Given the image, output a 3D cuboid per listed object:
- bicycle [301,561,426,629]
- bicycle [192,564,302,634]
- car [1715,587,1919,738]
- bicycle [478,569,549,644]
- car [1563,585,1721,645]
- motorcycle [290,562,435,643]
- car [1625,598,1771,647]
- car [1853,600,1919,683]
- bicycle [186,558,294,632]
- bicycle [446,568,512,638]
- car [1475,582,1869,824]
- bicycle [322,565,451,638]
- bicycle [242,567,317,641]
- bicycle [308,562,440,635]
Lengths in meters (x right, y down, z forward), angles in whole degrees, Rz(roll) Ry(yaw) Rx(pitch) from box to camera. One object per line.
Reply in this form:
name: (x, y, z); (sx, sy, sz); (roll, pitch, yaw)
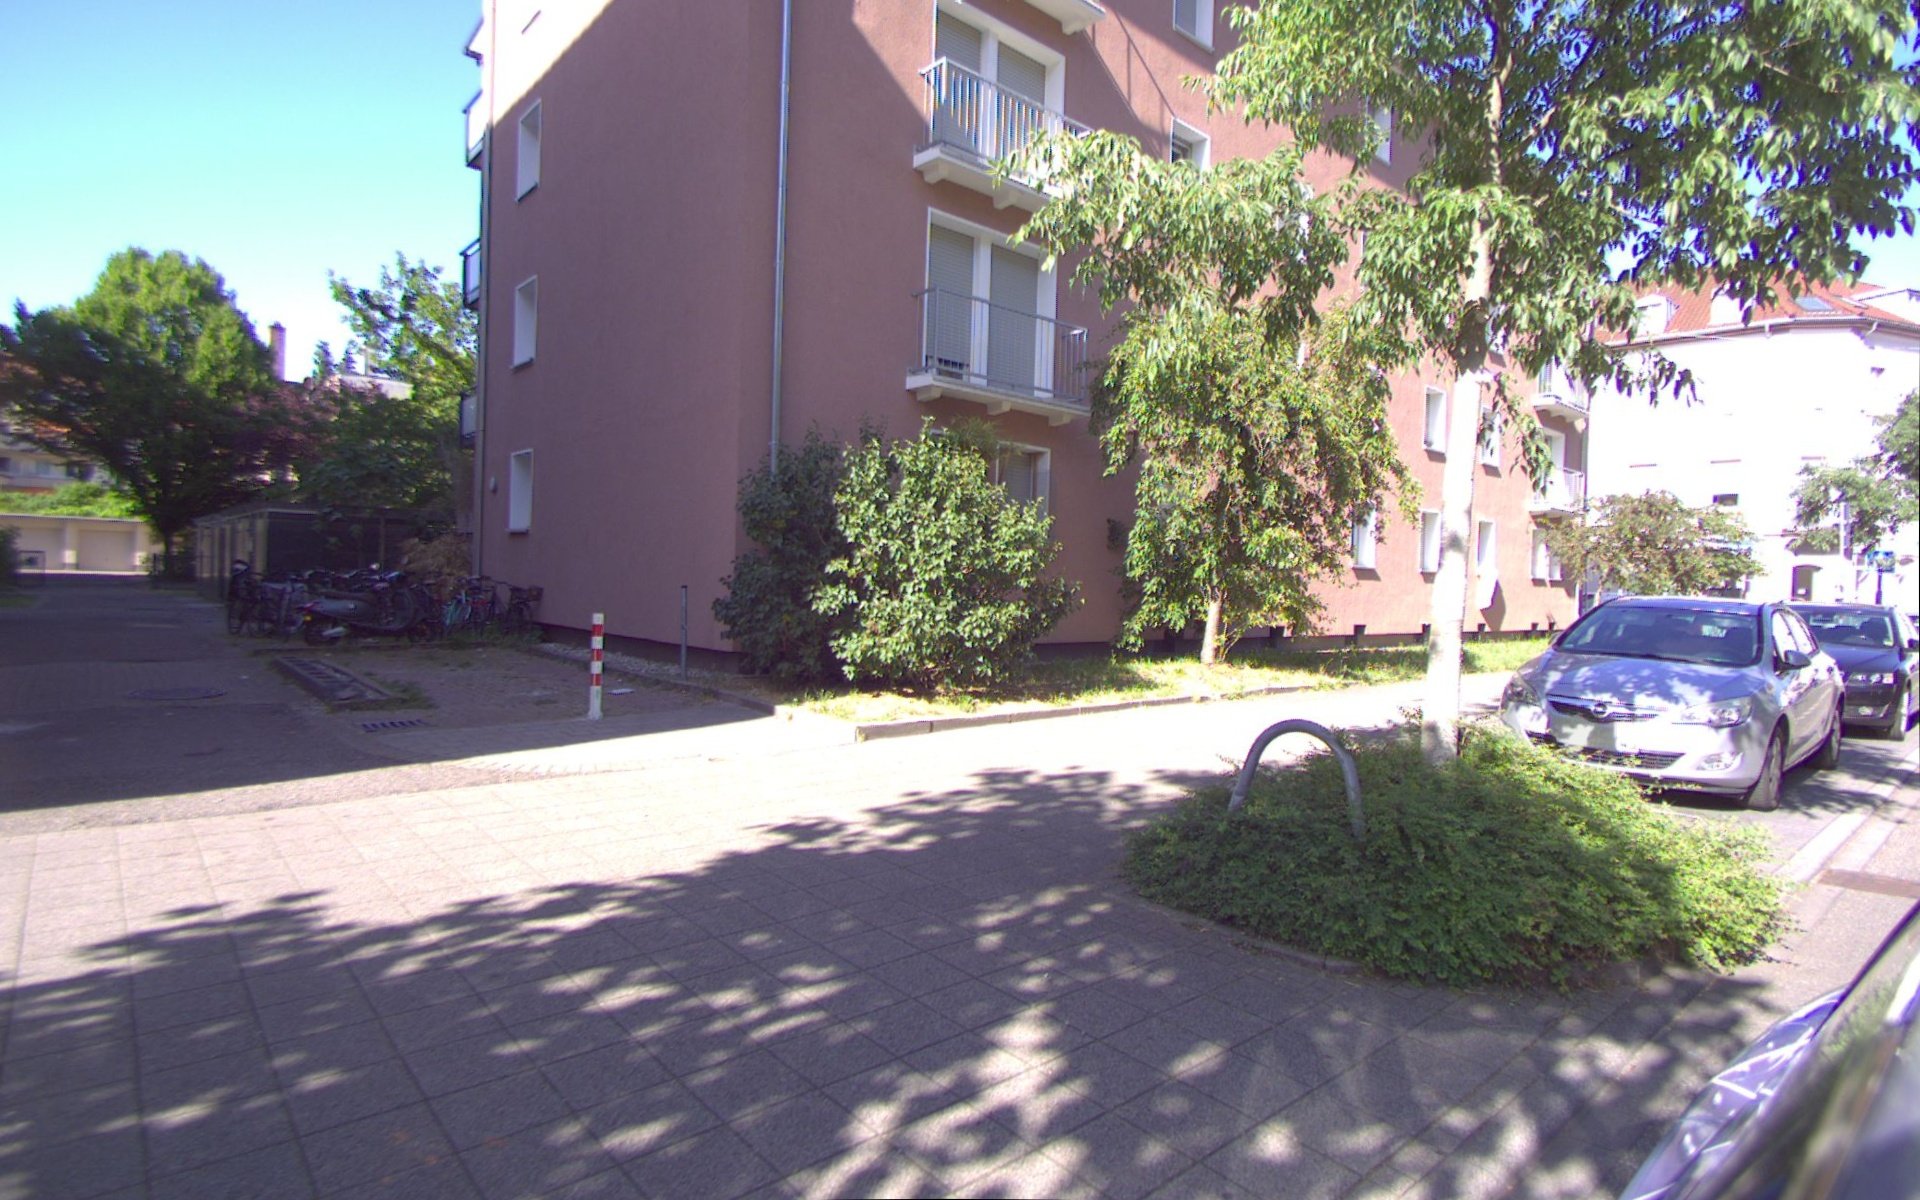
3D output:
bicycle: (-10.608, -0.084, 18.043); (1.847, 1.166, 0.578); (1, 1, -40)
bicycle: (-11.882, -0.022, 16.879); (1.453, 1.112, 0.557); (1, 1, -40)
car: (10.774, 0.643, 12.310); (4.236, 1.500, 1.661); (1, 1, -41)
bicycle: (-7.125, 0.082, 16.126); (0.584, 1.112, 1.538); (1, 1, -42)
car: (26.311, 0.523, 39.165); (4.745, 2.039, 1.968); (3, 1, 45)
motorcycle: (-8.705, 0.034, 14.783); (1.740, 1.120, 0.526); (1, 1, -40)
car: (24.370, 0.711, 33.520); (1.540, 1.420, 3.646); (1, 1, -41)
car: (18.496, 0.761, 19.239); (3.929, 1.446, 1.735); (1, 1, -41)
bicycle: (-12.287, -0.082, 17.287); (1.453, 1.221, 0.557); (1, 1, -40)
bicycle: (-8.266, 0.036, 17.352); (0.547, 1.112, 1.717); (1, 2, -42)
car: (5.967, 0.630, 8.316); (3.930, 1.471, 1.719); (0, 3, -41)
bicycle: (-9.309, 0.022, 16.468); (1.740, 1.120, 0.567); (1, 1, -40)
bicycle: (-10.890, 0.042, 16.170); (1.712, 1.112, 0.549); (2, 1, 41)
bicycle: (-9.896, -0.025, 17.124); (1.847, 1.166, 0.578); (1, 1, -40)
